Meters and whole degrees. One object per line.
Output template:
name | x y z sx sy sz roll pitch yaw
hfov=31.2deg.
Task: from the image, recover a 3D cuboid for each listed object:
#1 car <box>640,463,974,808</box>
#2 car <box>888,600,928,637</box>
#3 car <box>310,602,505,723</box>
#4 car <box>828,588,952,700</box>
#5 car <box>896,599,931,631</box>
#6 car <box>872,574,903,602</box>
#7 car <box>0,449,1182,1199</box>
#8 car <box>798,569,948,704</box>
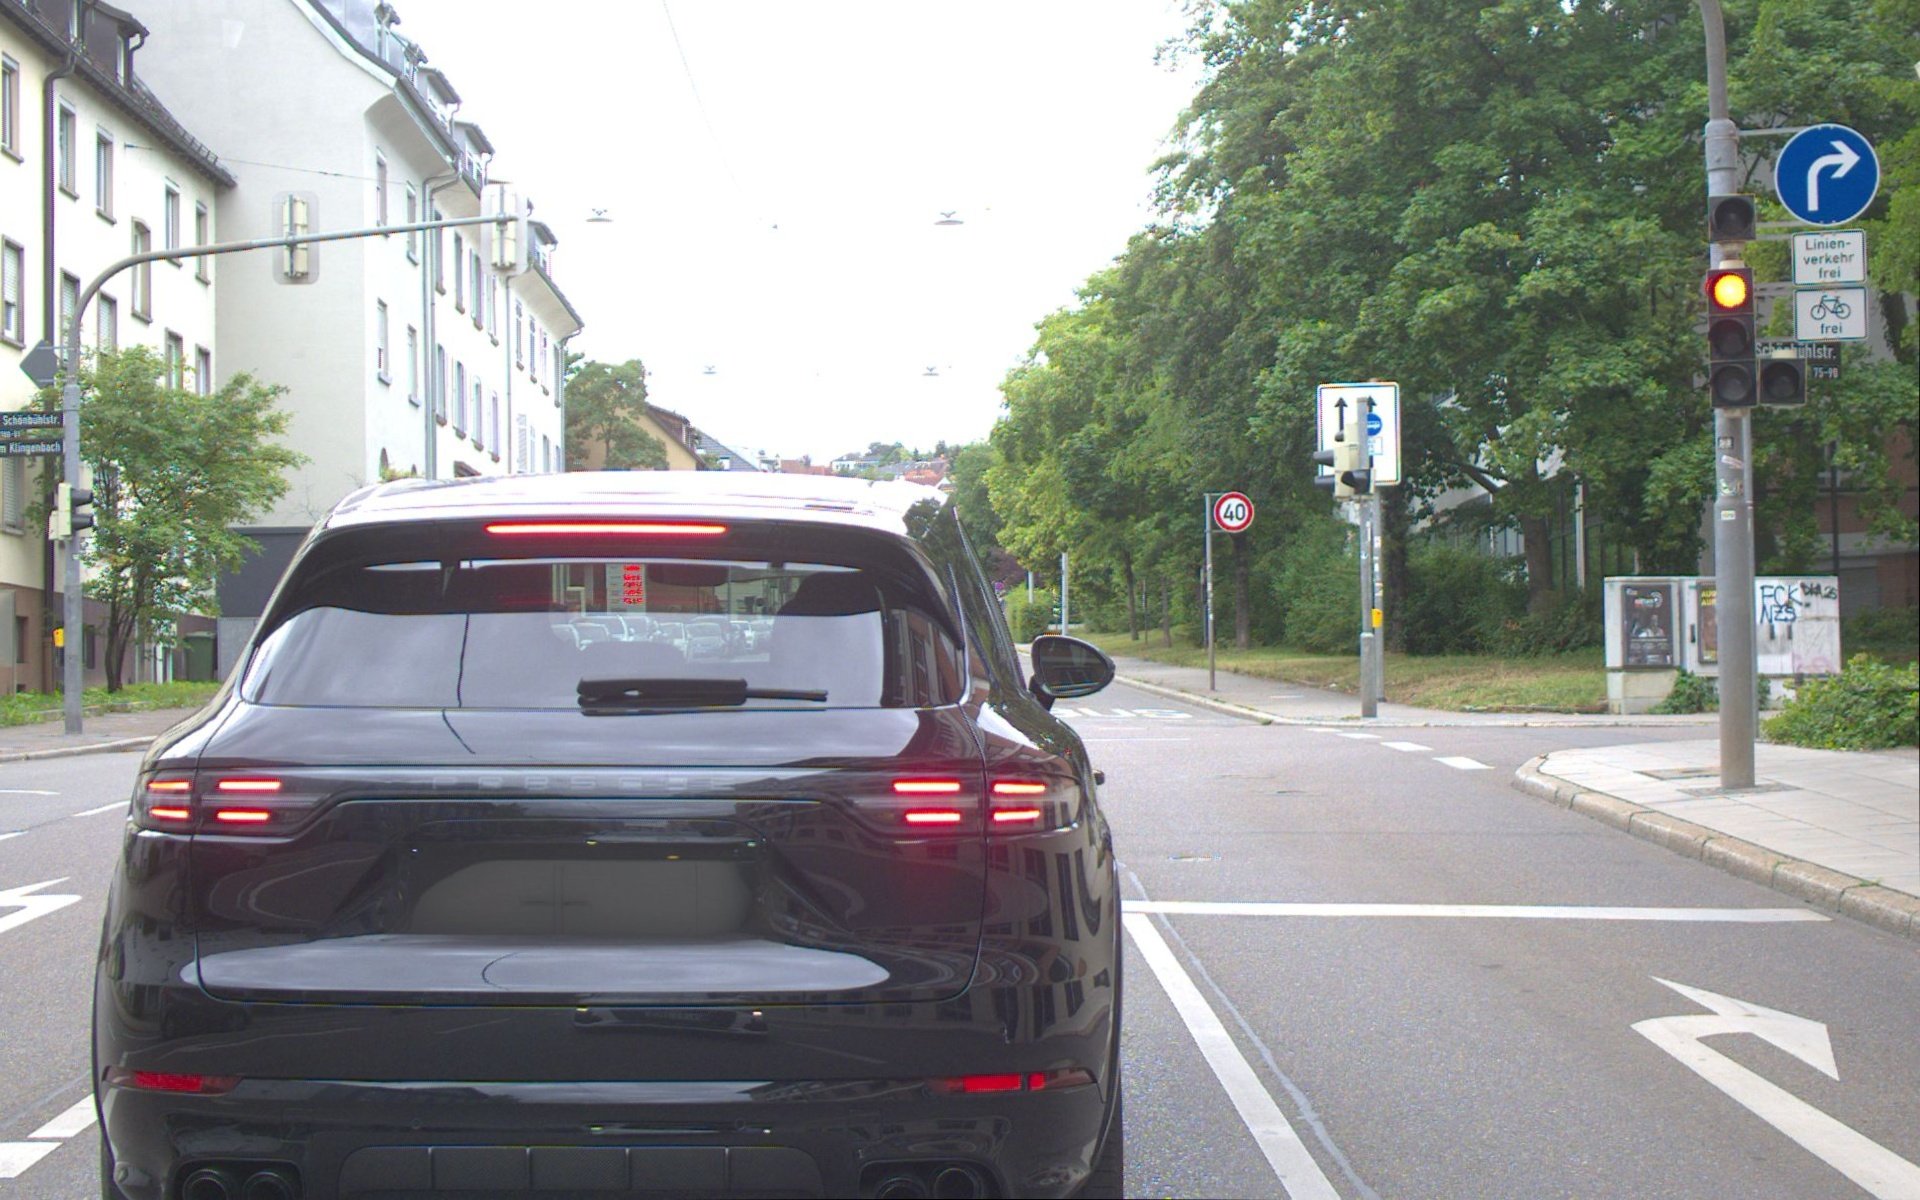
car | -0.927 0.176 22.617 1.965 2.035 4.135 1 1 0
car | -2.423 0.851 161.471 1.827 1.599 4.135 1 1 0
car | -7.223 0.787 45.345 1.785 1.414 4.670 -2 0 0
car | -1.062 0.650 53.261 1.827 1.599 3.859 1 1 0
car | -2.456 0.779 183.207 1.827 1.599 4.135 1 1 0
car | -4.463 -0.736 210.989 1.827 1.599 4.135 1 1 0
car | -0.679 0.553 7.900 2.048 1.660 4.267 1 1 0
car | -1.084 0.434 44.542 1.827 1.599 4.135 1 1 0
